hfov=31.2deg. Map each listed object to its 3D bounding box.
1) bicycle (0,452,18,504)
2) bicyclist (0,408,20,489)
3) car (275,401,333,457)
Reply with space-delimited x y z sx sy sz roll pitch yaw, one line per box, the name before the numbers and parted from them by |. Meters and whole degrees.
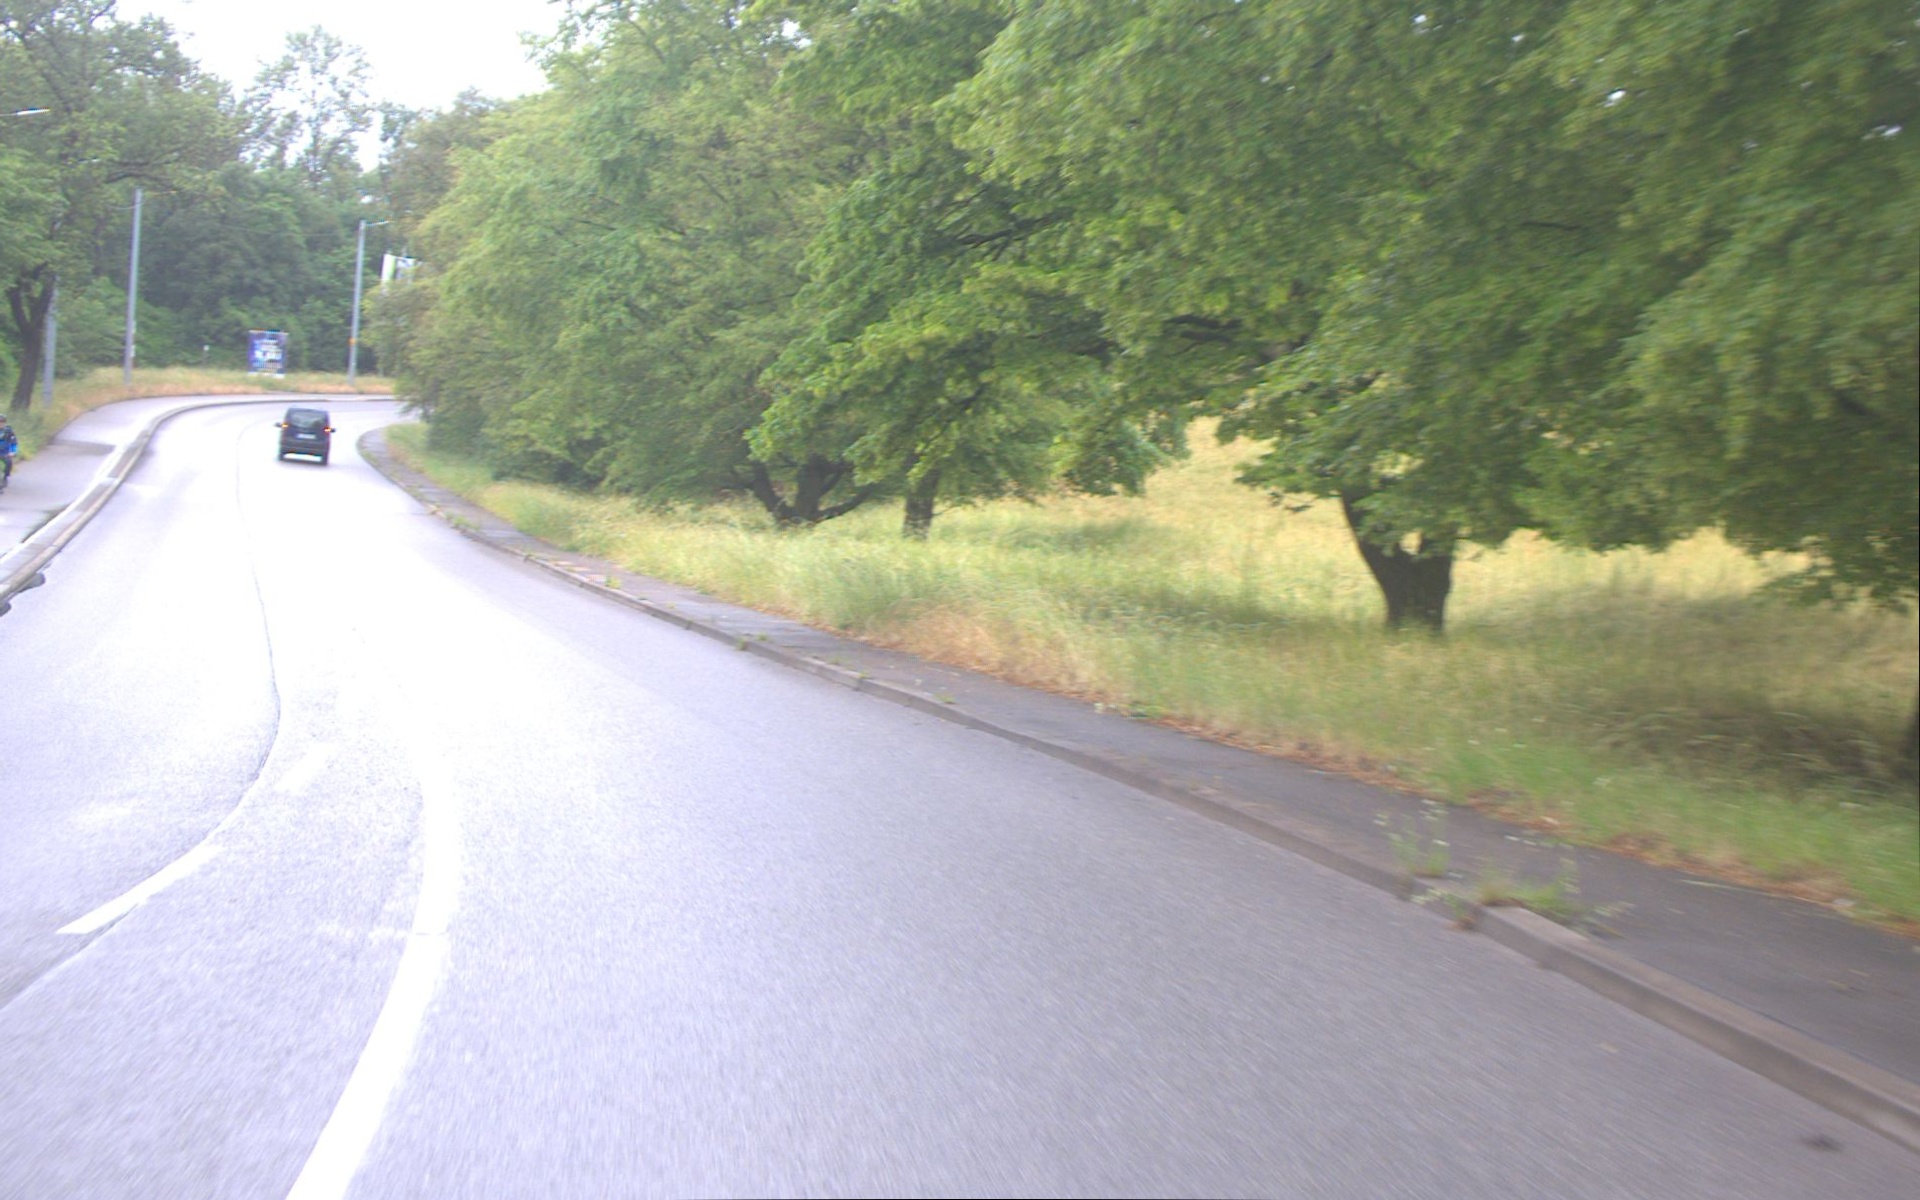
bicycle | -19.043 -2.432 67.777 0.724 0.938 2.551 4 2 -13
bicyclist | -19.026 -3.012 67.894 0.708 1.550 1.171 4 2 -13
car | -21.767 -5.669 113.961 1.741 1.711 4.002 4 2 -11
